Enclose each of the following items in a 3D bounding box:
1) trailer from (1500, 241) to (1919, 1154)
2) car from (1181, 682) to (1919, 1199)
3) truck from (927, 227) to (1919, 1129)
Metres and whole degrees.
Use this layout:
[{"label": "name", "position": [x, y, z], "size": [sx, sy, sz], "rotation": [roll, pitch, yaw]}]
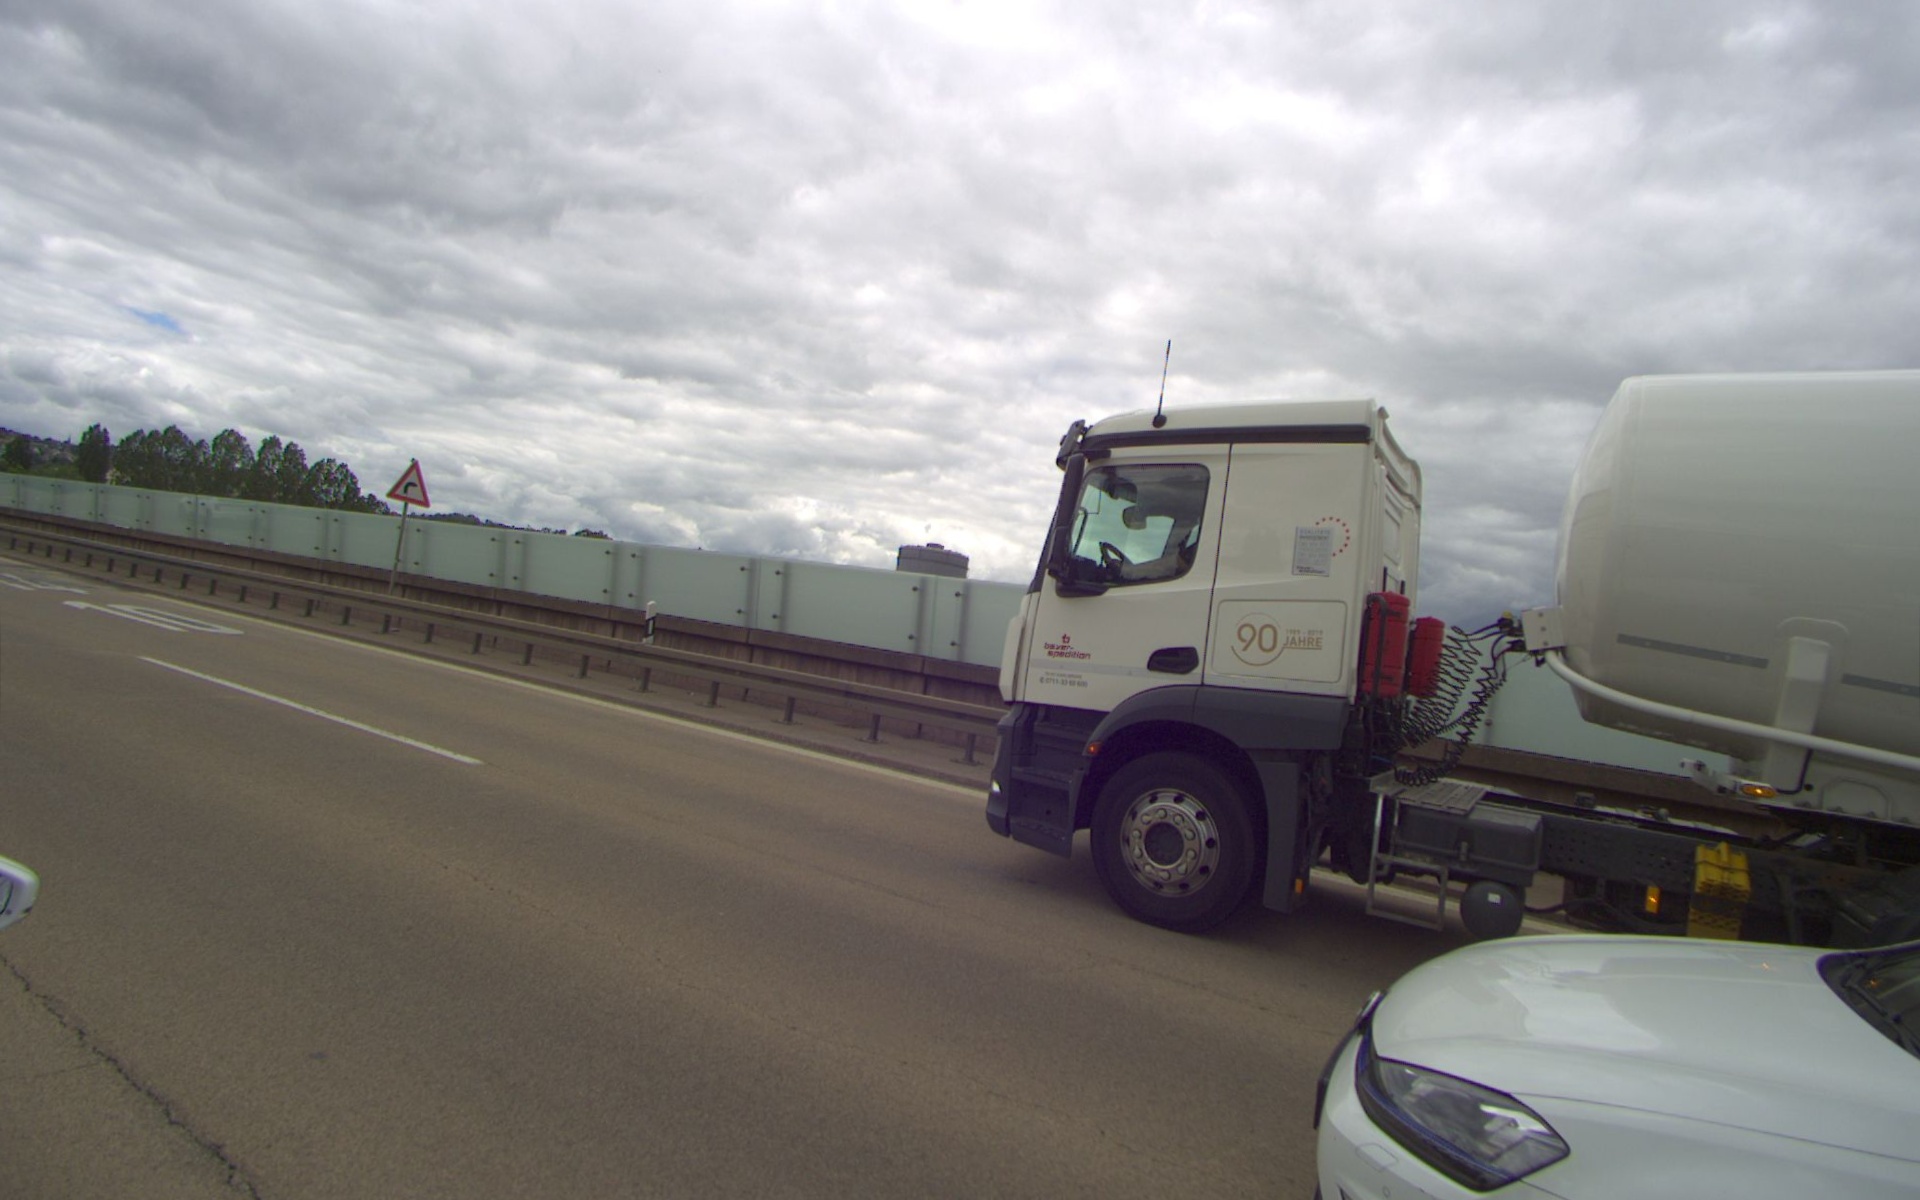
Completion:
[{"label": "trailer", "position": [8.041, 0.883, 2.859], "size": [11.034, 3.585, 2.654], "rotation": [7, -1, 32]}, {"label": "car", "position": [2.603, 1.174, 1.675], "size": [4.004, 1.469, 1.757], "rotation": [7, 0, 31]}, {"label": "truck", "position": [2.698, 0.220, 6.221], "size": [4.823, 3.555, 2.635], "rotation": [6, -1, 32]}]
